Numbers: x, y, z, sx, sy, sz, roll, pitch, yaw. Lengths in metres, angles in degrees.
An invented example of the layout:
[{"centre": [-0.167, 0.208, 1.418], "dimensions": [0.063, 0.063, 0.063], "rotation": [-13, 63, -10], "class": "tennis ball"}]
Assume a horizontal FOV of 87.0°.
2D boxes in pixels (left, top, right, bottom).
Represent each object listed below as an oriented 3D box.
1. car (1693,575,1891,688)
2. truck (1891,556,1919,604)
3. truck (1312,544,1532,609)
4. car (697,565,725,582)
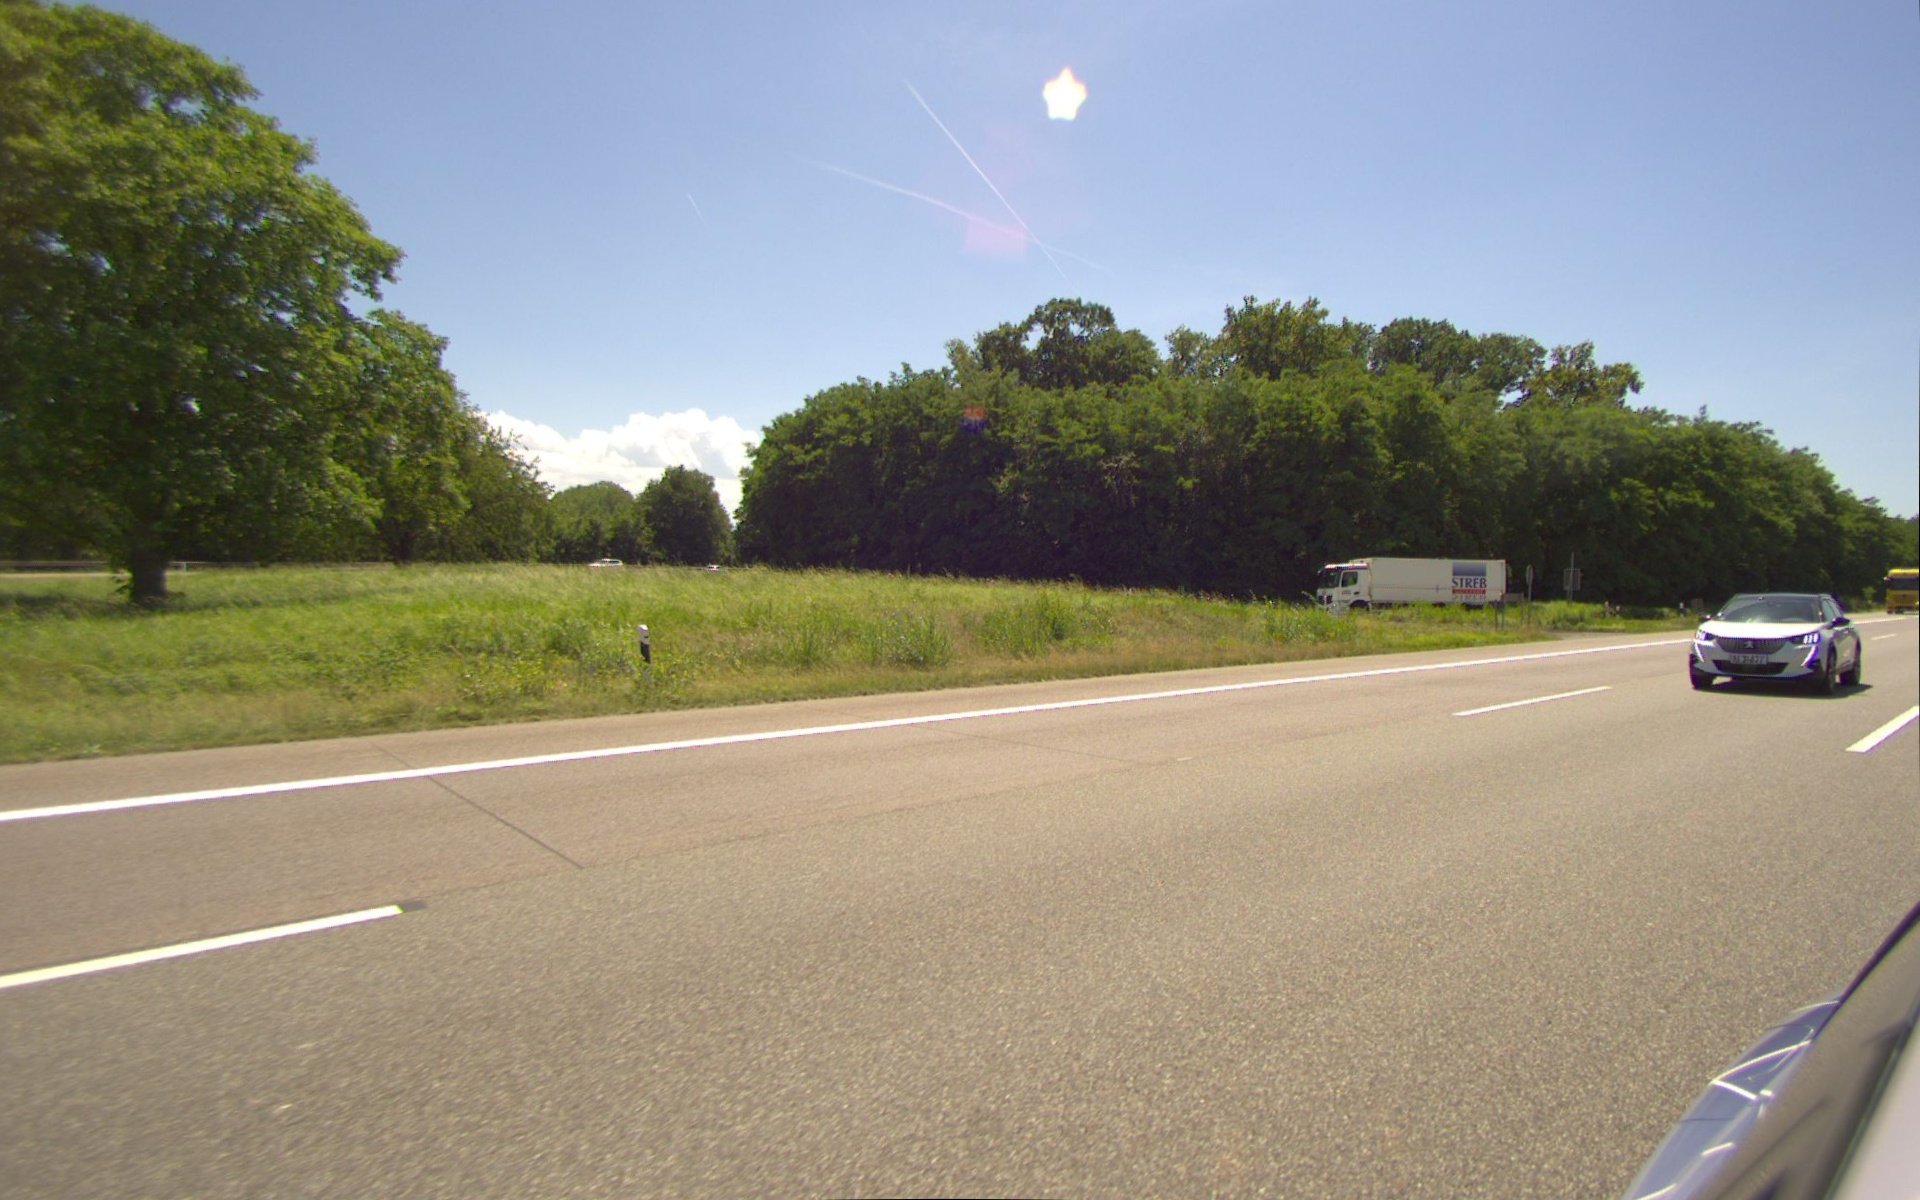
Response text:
[{"centre": [13.948, 0.427, 16.862], "dimensions": [4.725, 1.628, 1.830], "rotation": [0, 1, -41], "class": "car"}, {"centre": [87.424, -1.788, 91.799], "dimensions": [10.786, 4.088, 2.980], "rotation": [0, -1, -40], "class": "truck"}, {"centre": [24.730, -1.268, 54.435], "dimensions": [10.556, 3.361, 3.041], "rotation": [0, 0, -4], "class": "truck"}, {"centre": [-29.853, -3.185, 121.364], "dimensions": [1.965, 1.905, 3.993], "rotation": [0, 0, 6], "class": "car"}]
